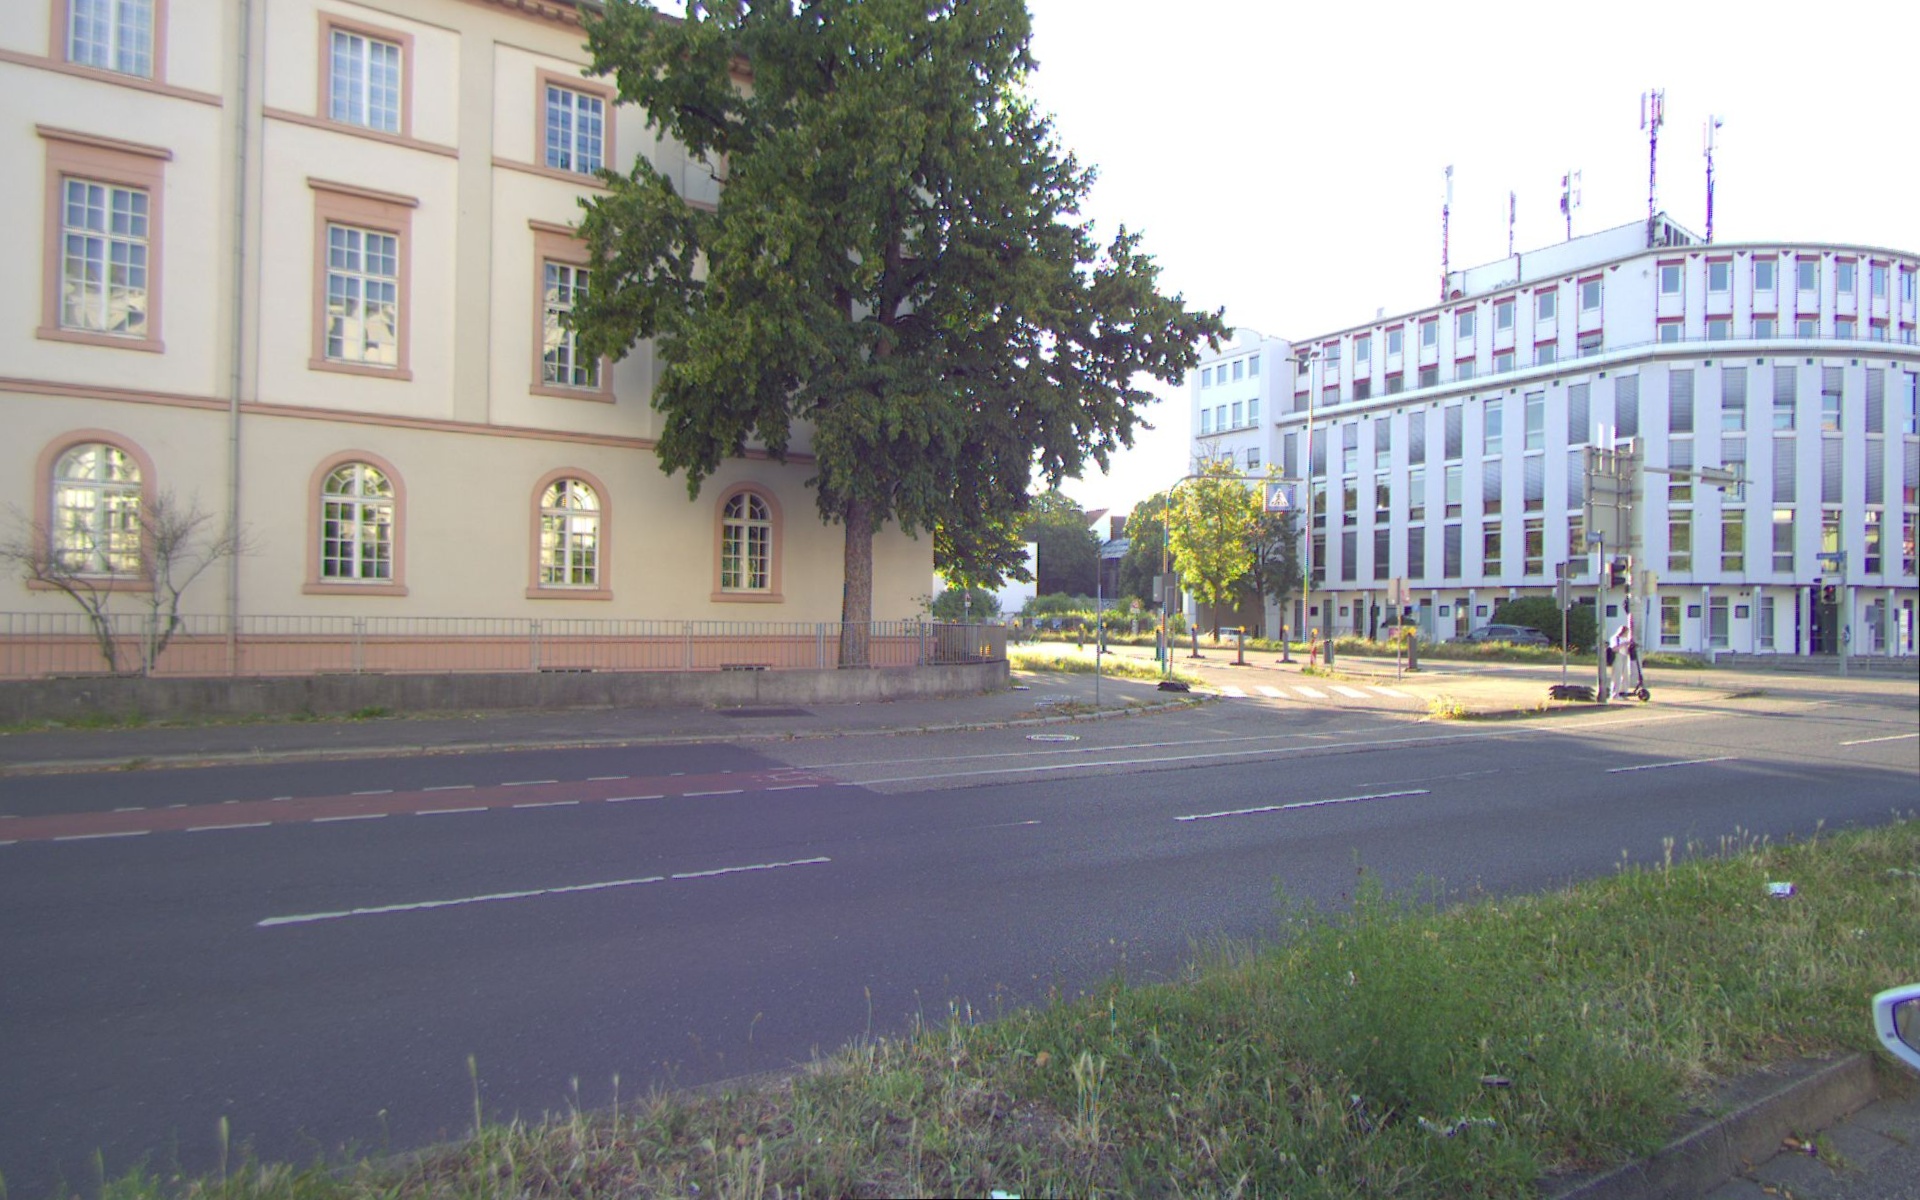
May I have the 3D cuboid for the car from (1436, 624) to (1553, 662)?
[{"bbox_3d":[23.743,1.880,44.754,1.770,1.570,4.310,1,-1,-35],"label":"car"}]

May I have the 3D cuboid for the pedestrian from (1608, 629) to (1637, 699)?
[{"bbox_3d":[14.714,1.405,22.308,0.332,1.525,0.470,1,-1,-41],"label":"pedestrian"}]

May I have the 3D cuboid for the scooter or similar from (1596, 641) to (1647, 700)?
[{"bbox_3d":[14.603,1.542,22.180,0.368,1.250,0.885,1,-1,-40],"label":"scooter or similar"}]

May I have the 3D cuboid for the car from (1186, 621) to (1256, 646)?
[{"bbox_3d":[15.998,2.023,61.671,1.770,1.439,3.961,1,-1,-35],"label":"car"}]
